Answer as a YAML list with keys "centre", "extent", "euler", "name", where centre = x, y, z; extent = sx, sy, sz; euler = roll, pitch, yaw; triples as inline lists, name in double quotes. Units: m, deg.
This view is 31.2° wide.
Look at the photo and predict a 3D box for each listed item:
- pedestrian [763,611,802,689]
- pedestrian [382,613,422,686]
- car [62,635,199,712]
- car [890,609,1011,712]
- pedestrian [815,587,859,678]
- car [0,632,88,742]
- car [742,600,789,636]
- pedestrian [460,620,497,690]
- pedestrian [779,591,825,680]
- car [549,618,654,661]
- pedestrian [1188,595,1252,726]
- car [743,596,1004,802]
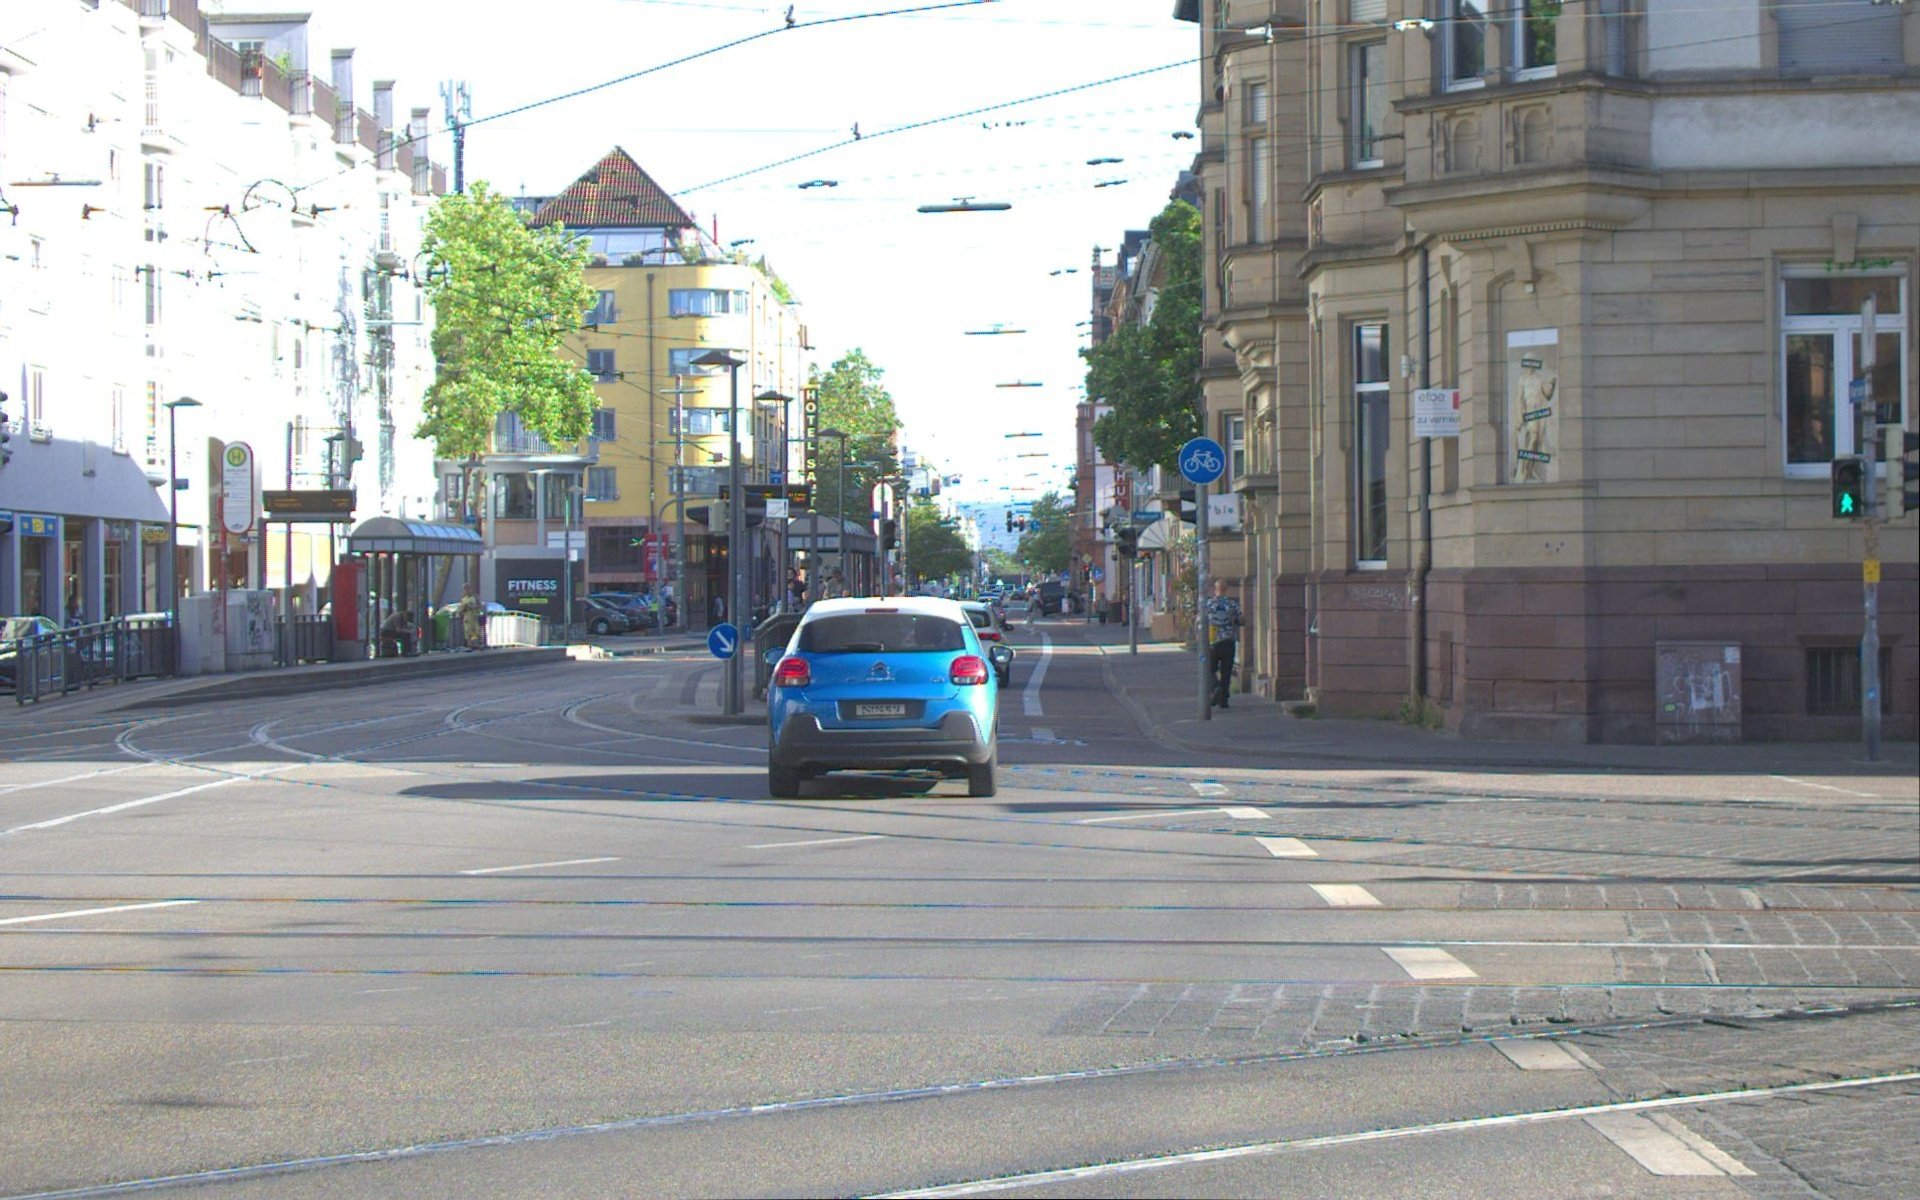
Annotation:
- centre: [-3.582, 1.009, 69.332]
  extent: [0.586, 1.556, 0.468]
  euler: [-1, 0, 37]
  name: "pedestrian"
- centre: [-11.821, 1.037, 72.836]
  extent: [0.731, 1.522, 0.743]
  euler: [0, 1, 0]
  name: "pedestrian"
- centre: [-17.102, 1.497, 71.068]
  extent: [1.728, 1.509, 4.404]
  euler: [0, 0, 1]
  name: "car"
- centre: [-0.132, 1.070, 60.814]
  extent: [1.993, 1.737, 3.999]
  euler: [1, -1, 2]
  name: "car"
- centre: [-2.323, 0.622, 64.847]
  extent: [0.636, 1.692, 0.933]
  euler: [1, -1, 9]
  name: "pedestrian"
- centre: [-17.511, 1.546, 62.245]
  extent: [2.227, 1.904, 4.609]
  euler: [0, 0, 1]
  name: "car"
- centre: [-9.704, 0.908, 171.827]
  extent: [1.993, 1.737, 3.999]
  euler: [1, -1, 2]
  name: "car"
- centre: [-10.829, 1.241, 77.347]
  extent: [0.731, 1.554, 0.743]
  euler: [0, 1, 0]
  name: "pedestrian"
- centre: [-3.195, 0.719, 69.595]
  extent: [0.718, 1.771, 0.564]
  euler: [-1, 0, 37]
  name: "pedestrian"
- centre: [-14.241, 1.576, 136.619]
  extent: [3.986, 1.669, 1.958]
  euler: [0, 0, -2]
  name: "car"
- centre: [3.554, 0.820, 47.040]
  extent: [0.780, 1.744, 1.093]
  euler: [0, 2, -1]
  name: "pedestrian"
- centre: [-0.598, 0.705, 26.412]
  extent: [1.781, 1.446, 3.654]
  euler: [1, 0, 2]
  name: "car"
